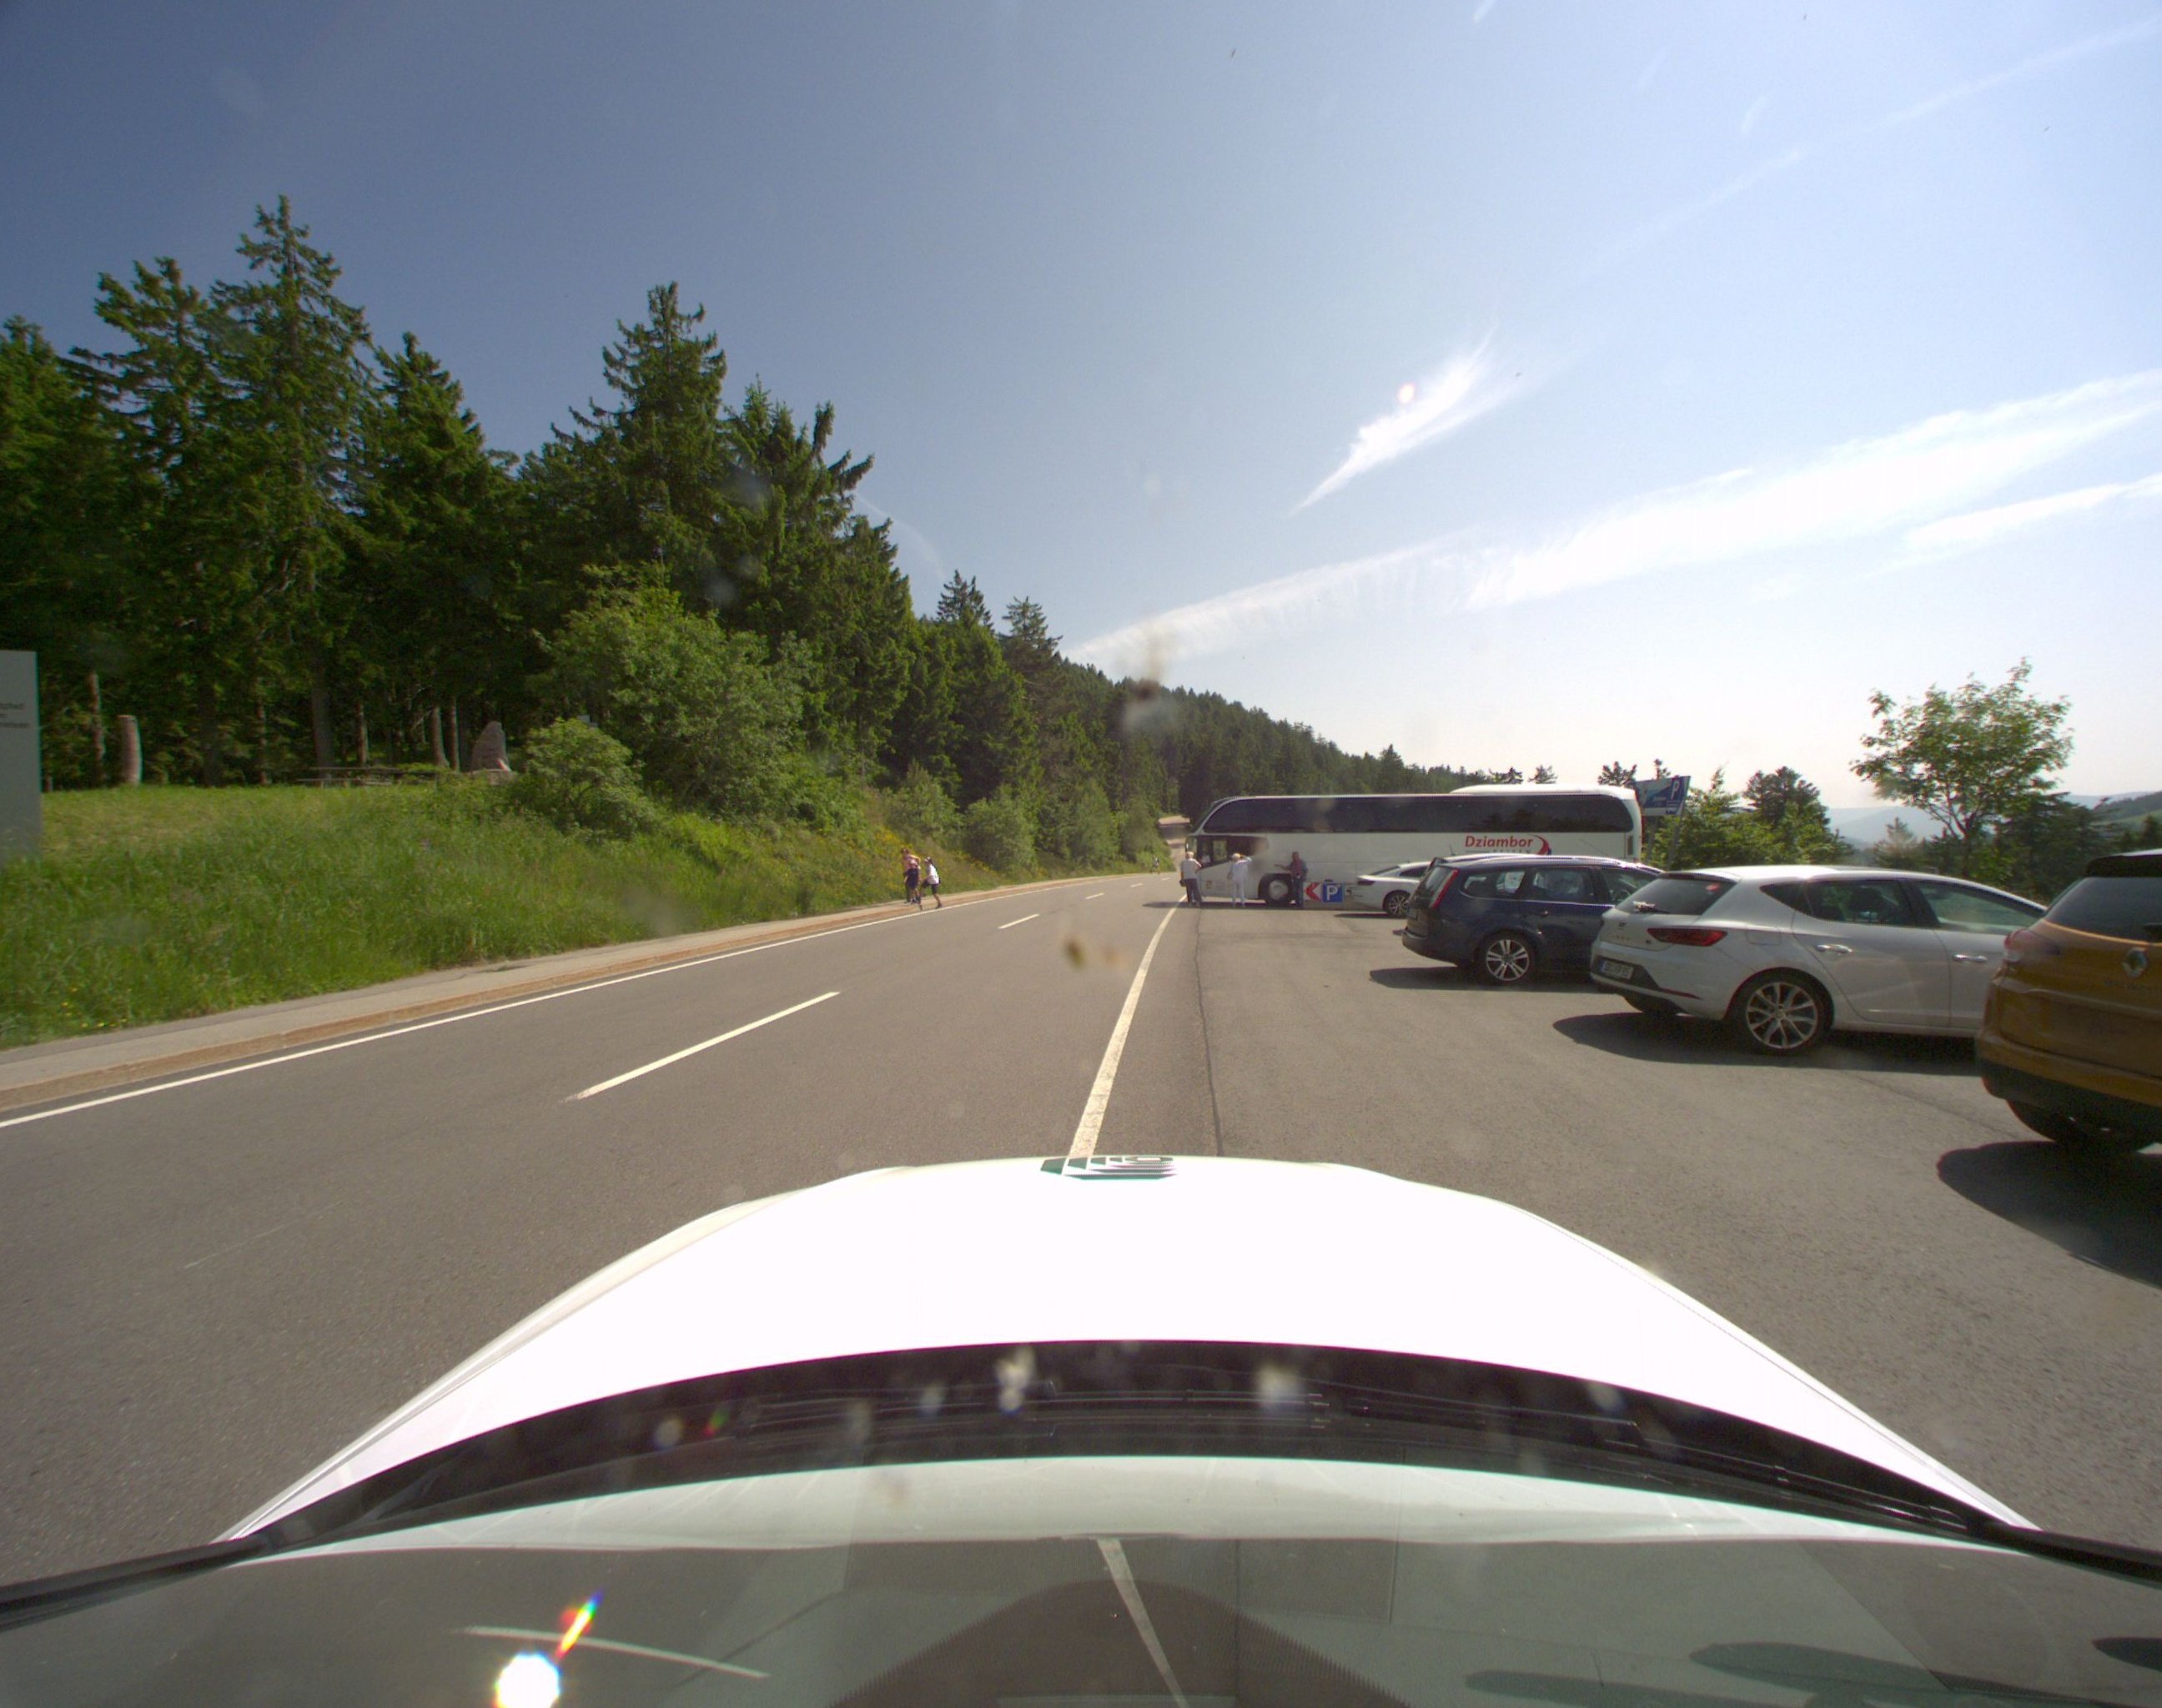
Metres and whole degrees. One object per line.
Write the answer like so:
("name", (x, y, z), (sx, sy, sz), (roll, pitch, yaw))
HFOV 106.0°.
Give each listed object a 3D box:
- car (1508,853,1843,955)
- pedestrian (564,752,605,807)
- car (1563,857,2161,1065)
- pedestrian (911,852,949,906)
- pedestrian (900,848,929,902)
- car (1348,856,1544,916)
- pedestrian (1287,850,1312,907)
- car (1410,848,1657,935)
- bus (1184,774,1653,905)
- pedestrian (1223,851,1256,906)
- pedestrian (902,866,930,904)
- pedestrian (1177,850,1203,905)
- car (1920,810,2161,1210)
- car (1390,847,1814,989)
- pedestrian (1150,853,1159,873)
("car", (9.257, 0.719, 13.040), (3.960, 1.420, 1.772), (1, 0, 12))
("pedestrian", (-15.368, -2.284, 25.212), (0.806, 1.629, 0.743), (-1, 0, 2))
("car", (6.458, 0.783, 6.809), (3.863, 1.420, 1.617), (1, -1, 6))
("pedestrian", (-4.392, 0.717, 23.708), (0.884, 1.537, 0.575), (-1, 0, -40))
("pedestrian", (-5.171, 0.646, 25.334), (0.572, 1.643, 0.897), (-1, 0, 10))
("car", (9.140, 0.771, 20.789), (4.389, 1.396, 1.726), (0, 0, 17))
("pedestrian", (6.465, 0.705, 24.094), (0.639, 1.643, 0.748), (-1, 0, 15))
("car", (8.810, 0.685, 16.195), (3.960, 1.574, 1.772), (0, 0, 12))
("bus", (9.780, -0.338, 25.195), (12.753, 3.577, 2.850), (-1, 0, 14))
("pedestrian", (4.723, 0.727, 24.228), (0.638, 1.596, 0.749), (-1, 0, 39))
("pedestrian", (-4.940, 0.927, 24.382), (0.565, 1.102, 0.747), (-1, 0, 10))
("pedestrian", (3.286, 0.711, 24.663), (0.703, 1.643, 0.746), (-1, -2, 5))
("car", (6.331, 0.681, 3.326), (3.858, 1.615, 1.712), (2, 0, 5))
("car", (6.123, 0.698, 10.046), (4.105, 1.544, 1.677), (0, 0, 9))
("pedestrian", (6.496, 0.830, 71.987), (0.678, 1.746, 0.827), (0, -1, 7))
